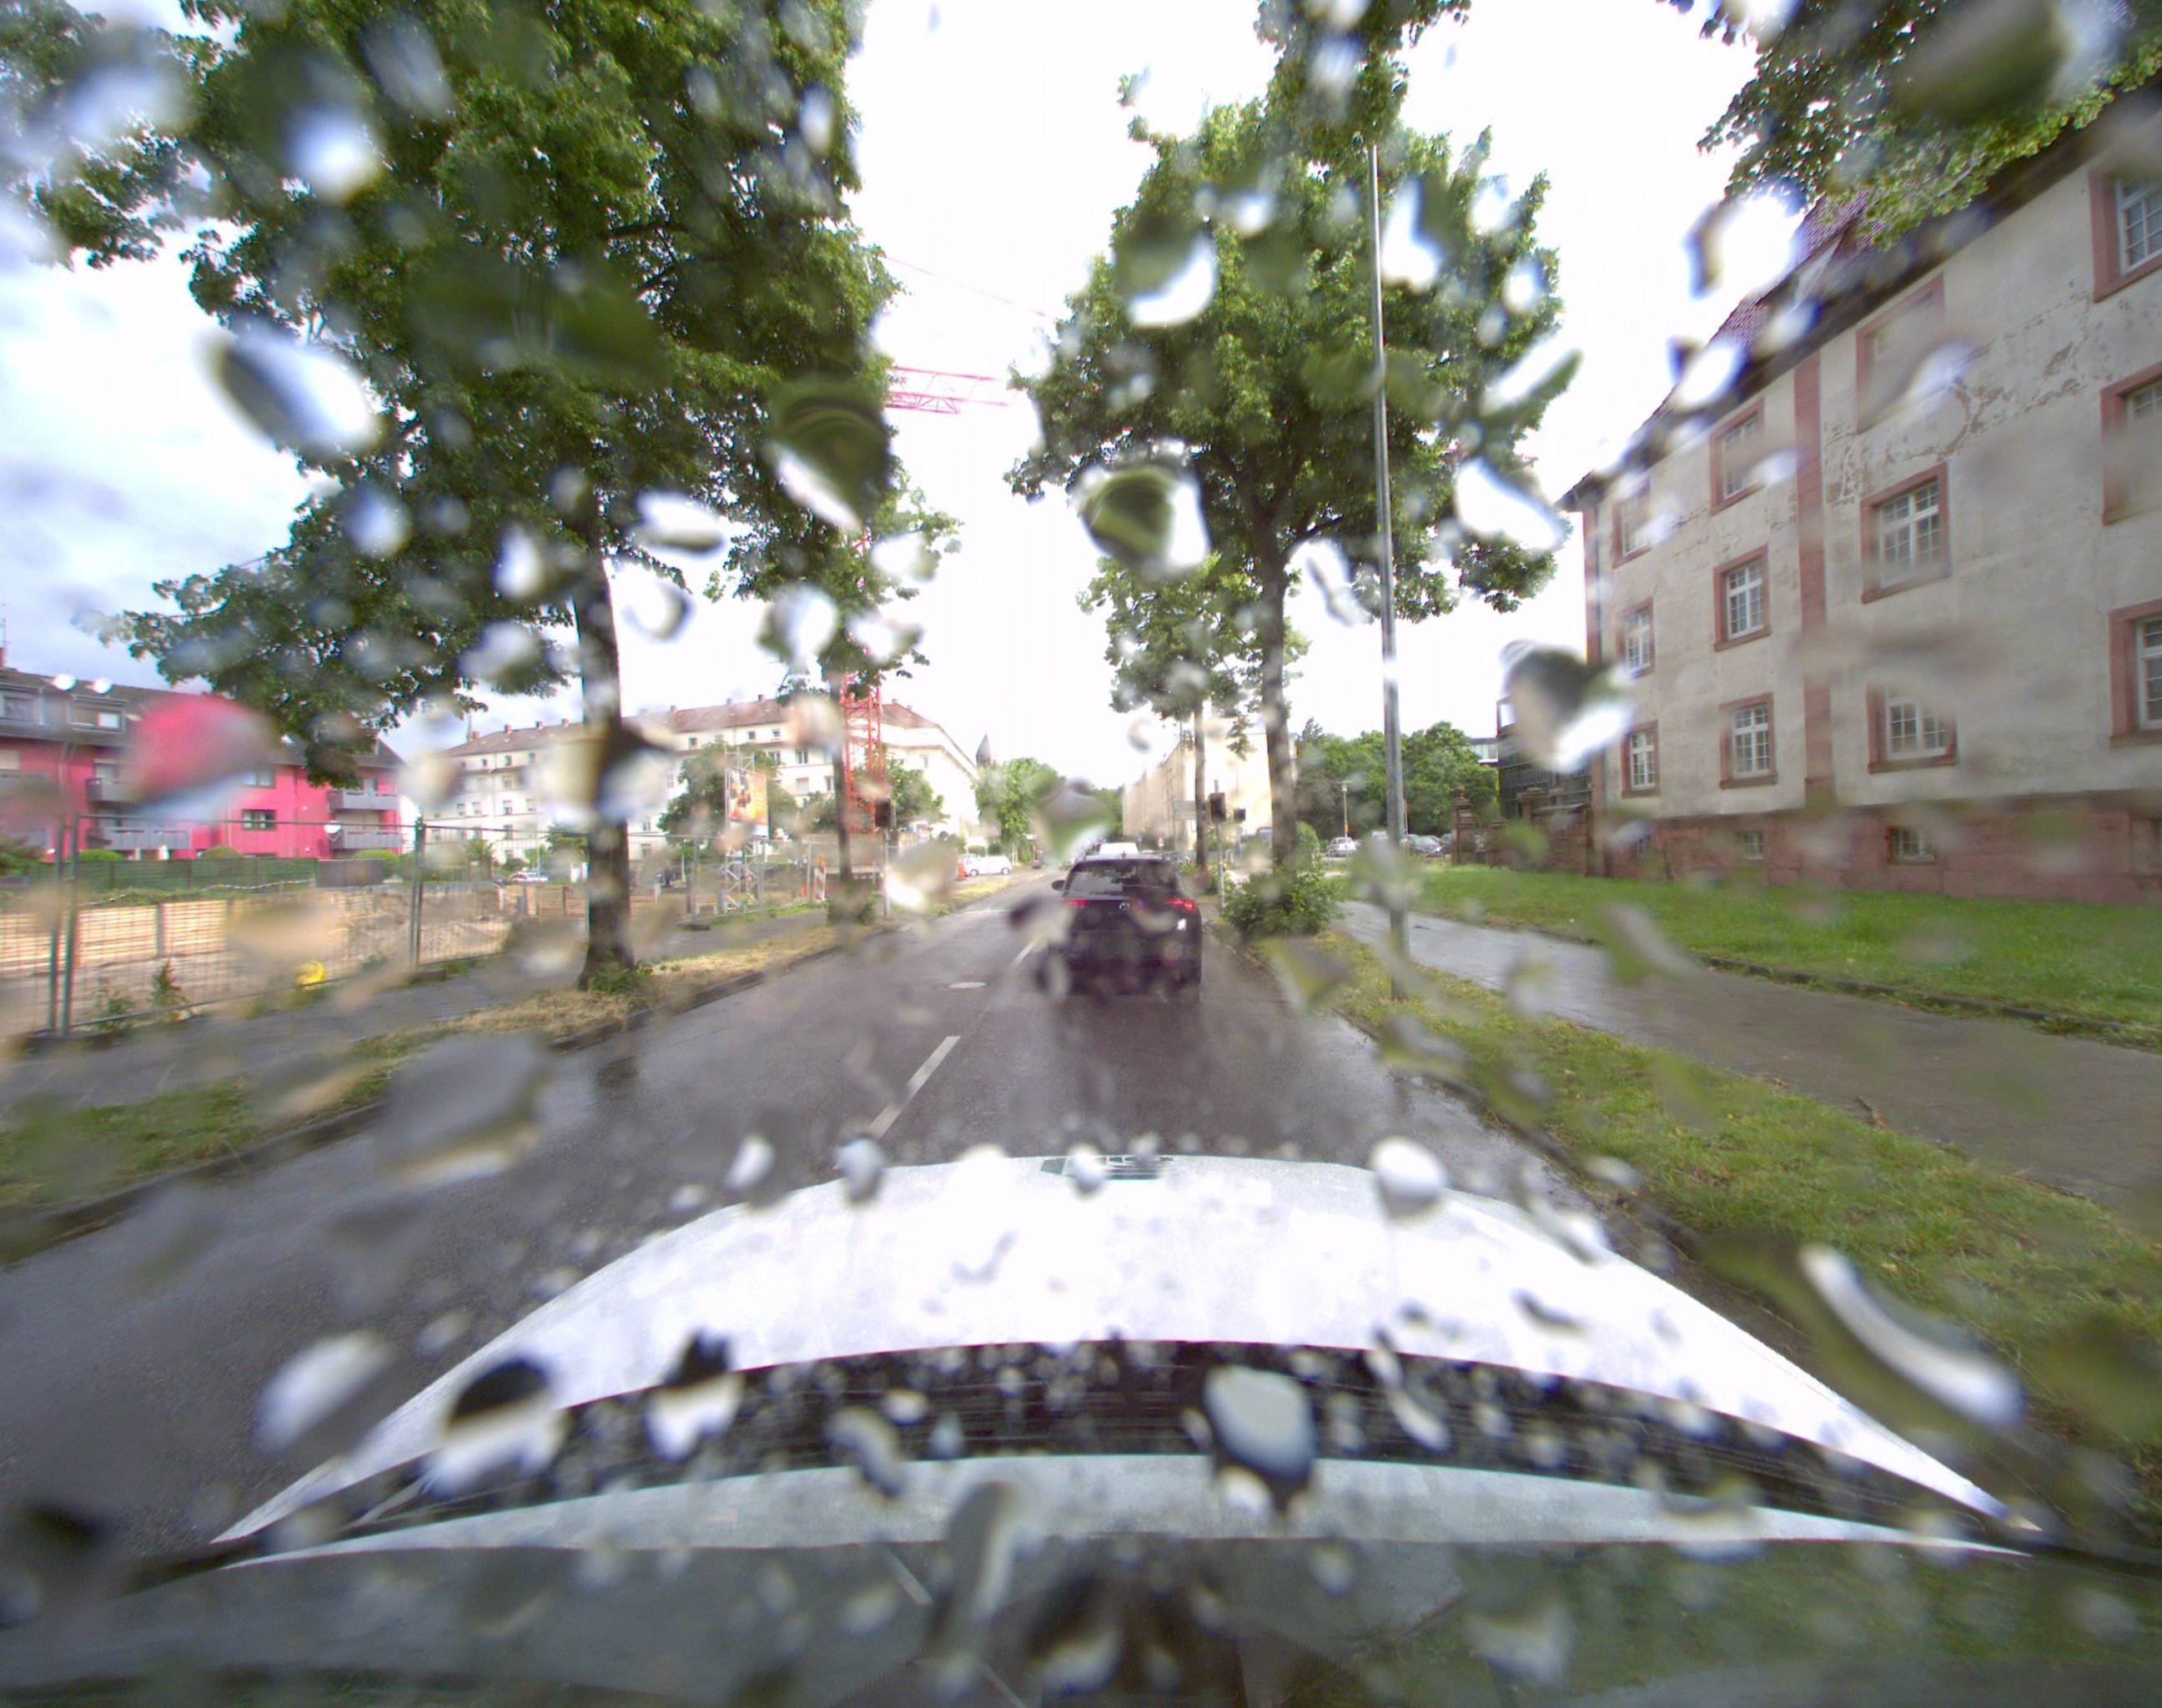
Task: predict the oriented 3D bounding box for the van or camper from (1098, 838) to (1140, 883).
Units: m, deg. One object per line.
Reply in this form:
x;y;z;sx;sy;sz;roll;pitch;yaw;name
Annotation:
1.775;0.273;37.581;1.812;1.947;4.198;-1;0;3;van or camper

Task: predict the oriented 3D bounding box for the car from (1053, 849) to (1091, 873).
-0.728;0.567;69.286;1.775;1.683;4.507;-5;0;17;car

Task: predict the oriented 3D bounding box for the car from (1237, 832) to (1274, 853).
16.979;-1.125;79.334;3.386;1.781;1.765;-5;0;10;car

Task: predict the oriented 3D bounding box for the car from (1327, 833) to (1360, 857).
20.935;-0.712;65.001;1.733;1.684;3.879;-5;0;8;car

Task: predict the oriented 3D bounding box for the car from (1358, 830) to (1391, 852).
28.952;-1.270;80.489;1.984;2.013;4.007;-5;0;6;car

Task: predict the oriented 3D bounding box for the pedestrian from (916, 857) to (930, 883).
-9.286;0.937;47.882;0.663;1.485;0.668;-2;1;-23;pedestrian

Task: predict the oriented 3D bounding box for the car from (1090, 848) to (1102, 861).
2.052;0.068;112.022;1.586;1.512;3.732;-5;0;1;car

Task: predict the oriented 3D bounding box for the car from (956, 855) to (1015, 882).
-7.206;1.096;61.531;3.948;1.651;1.743;-5;0;-30;car

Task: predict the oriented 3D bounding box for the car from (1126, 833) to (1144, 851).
6.435;-1.381;97.549;1.986;2.013;4.001;-1;0;2;car

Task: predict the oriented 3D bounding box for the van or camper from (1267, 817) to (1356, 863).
14.681;-0.877;52.147;5.016;2.596;2.168;-3;0;0;van or camper

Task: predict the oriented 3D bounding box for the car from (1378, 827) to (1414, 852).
28.980;-1.300;75.057;1.984;2.013;4.007;-5;0;6;car

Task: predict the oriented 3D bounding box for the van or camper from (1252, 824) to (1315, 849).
17.205;-1.496;69.218;4.856;1.925;2.132;-2;1;2;van or camper

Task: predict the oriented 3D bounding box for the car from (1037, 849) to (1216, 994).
0.576;0.724;10.799;1.887;1.522;4.002;-2;0;2;car

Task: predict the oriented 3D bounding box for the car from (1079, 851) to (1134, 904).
1.009;0.811;29.801;1.672;1.708;3.915;-5;-1;5;car

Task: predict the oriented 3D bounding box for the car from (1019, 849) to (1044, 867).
-4.745;0.359;78.094;1.582;1.512;3.740;-5;0;8;car
